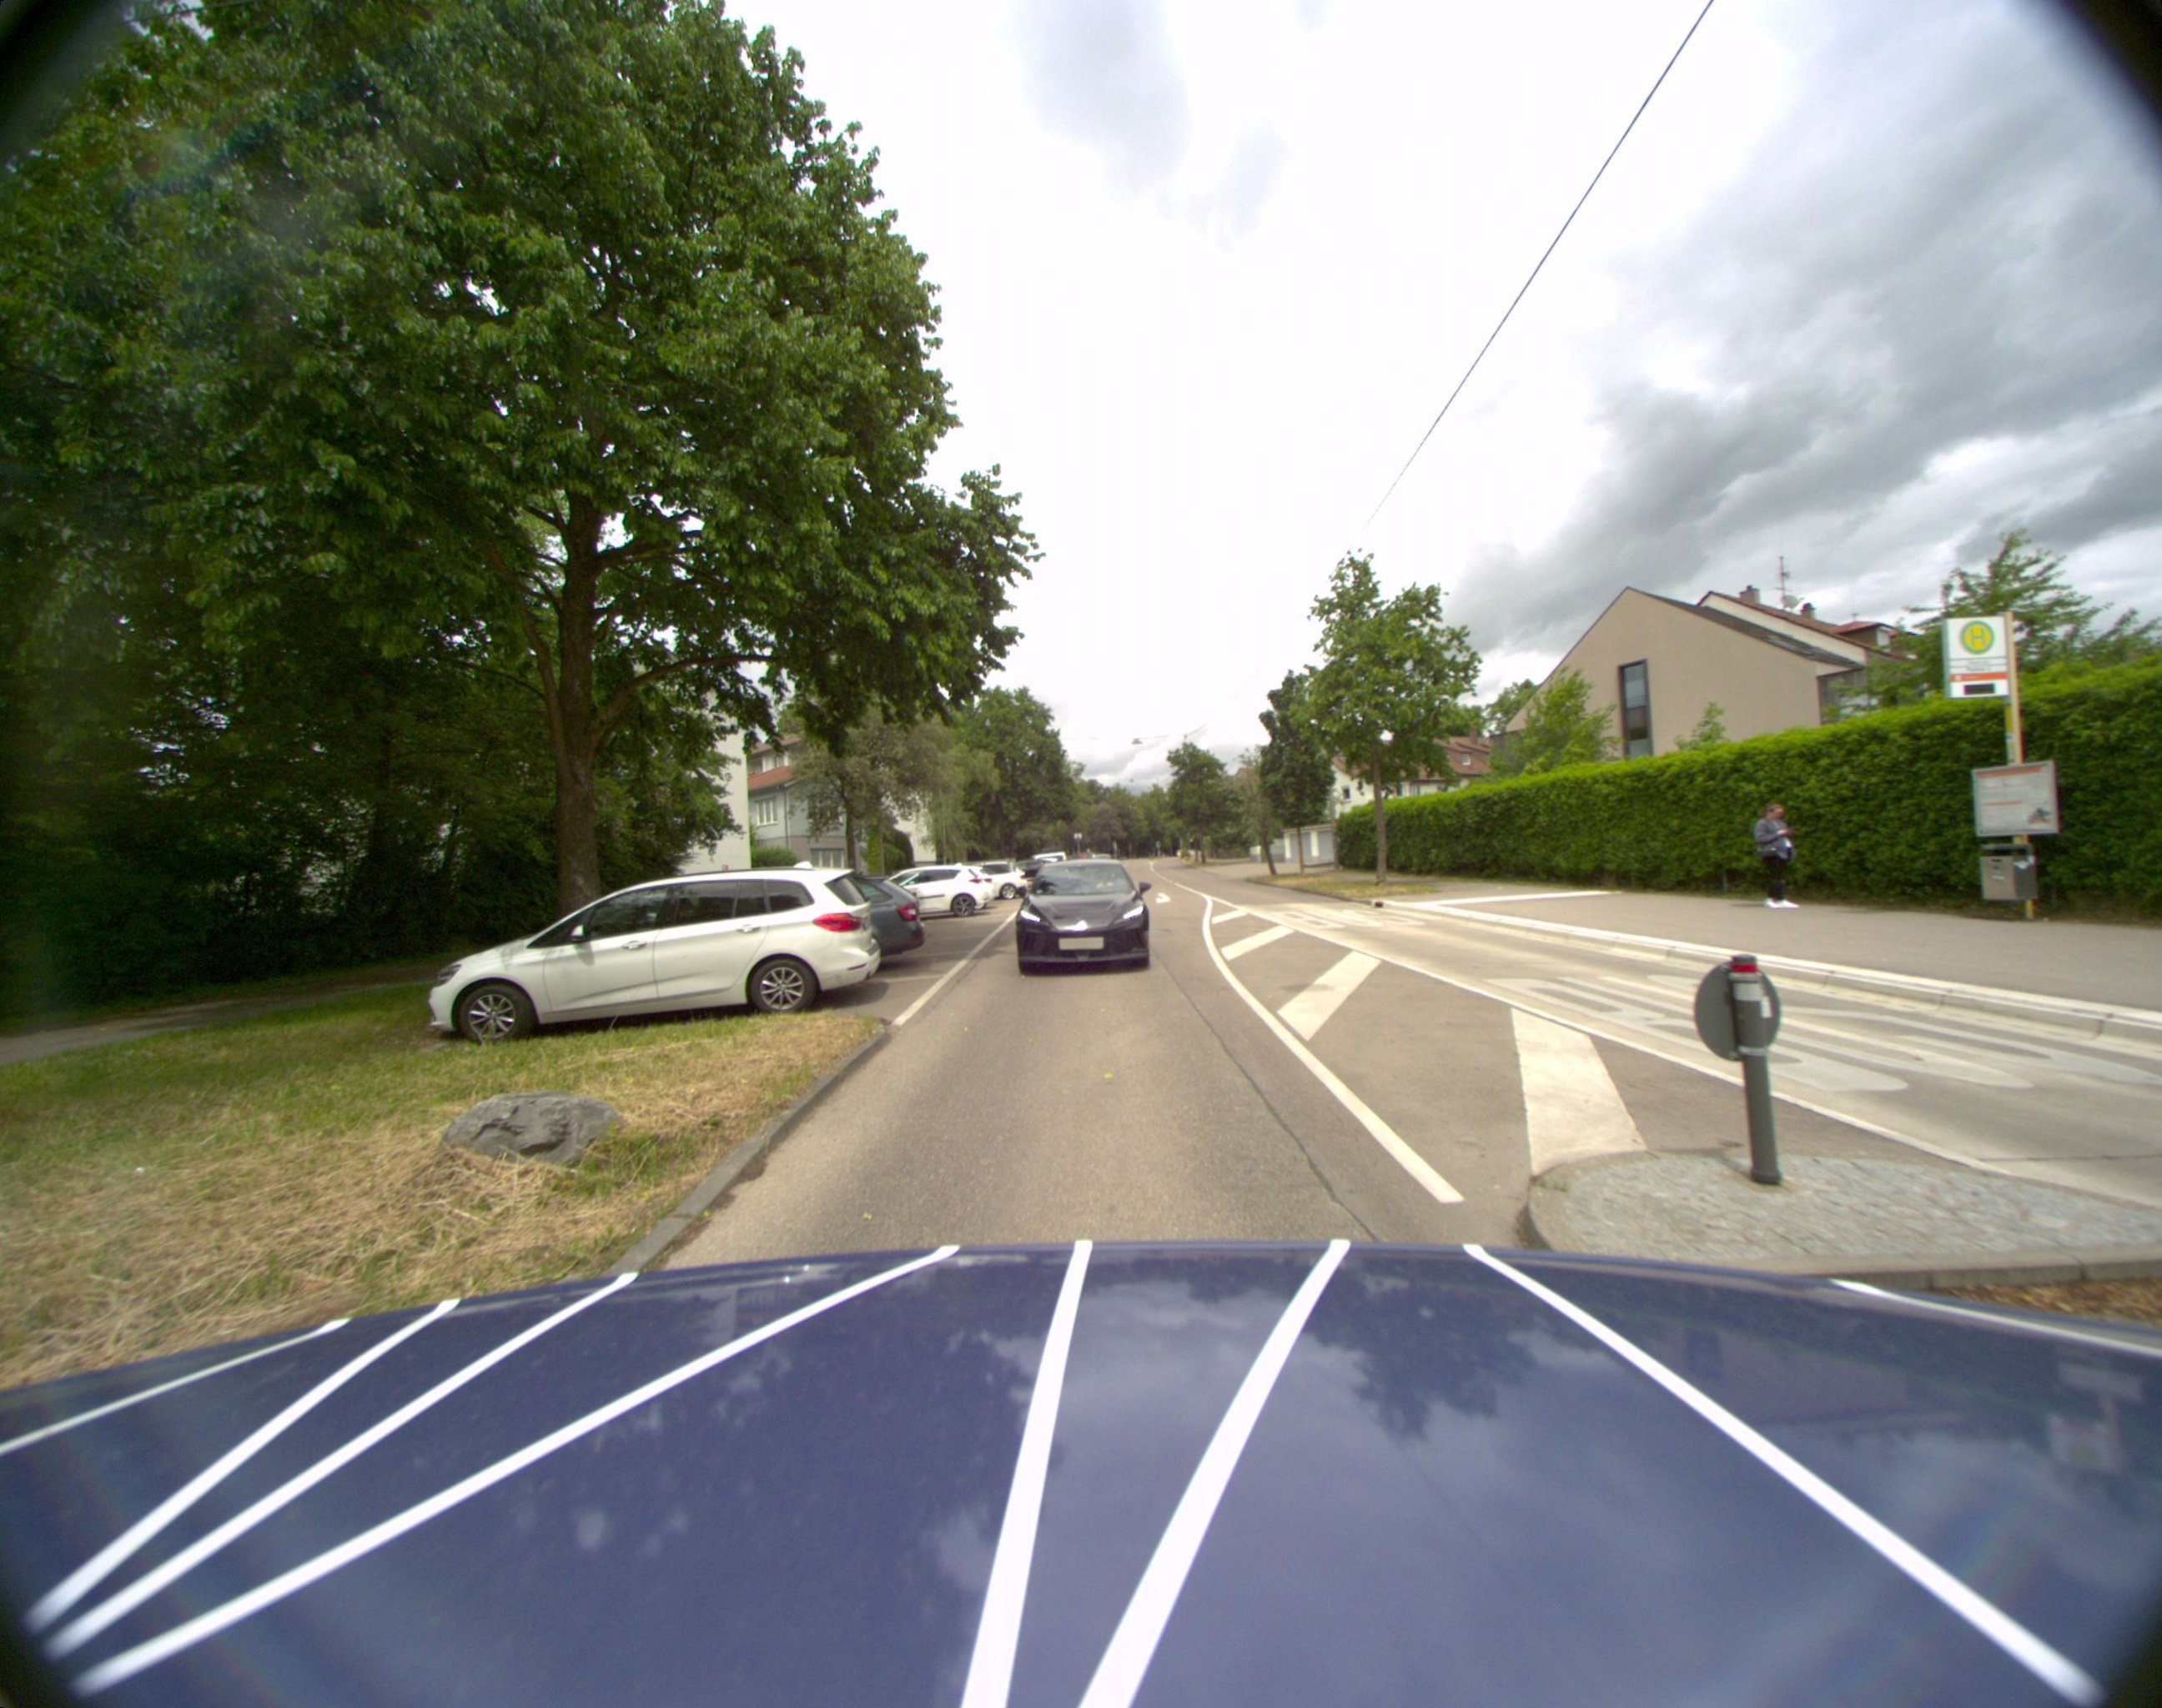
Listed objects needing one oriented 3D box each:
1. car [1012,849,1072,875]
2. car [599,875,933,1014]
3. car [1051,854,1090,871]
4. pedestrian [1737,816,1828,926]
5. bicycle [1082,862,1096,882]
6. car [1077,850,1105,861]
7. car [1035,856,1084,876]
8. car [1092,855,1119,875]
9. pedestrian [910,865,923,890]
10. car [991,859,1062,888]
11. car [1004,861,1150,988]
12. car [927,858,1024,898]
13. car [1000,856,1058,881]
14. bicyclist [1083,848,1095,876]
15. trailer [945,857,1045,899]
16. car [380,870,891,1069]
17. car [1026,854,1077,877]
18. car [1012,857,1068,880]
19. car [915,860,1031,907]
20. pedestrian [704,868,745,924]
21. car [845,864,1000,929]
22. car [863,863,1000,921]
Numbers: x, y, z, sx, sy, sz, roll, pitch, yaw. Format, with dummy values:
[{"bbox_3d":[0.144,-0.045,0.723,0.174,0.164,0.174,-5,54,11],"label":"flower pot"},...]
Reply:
[{"bbox_3d":[-3.026,0.623,59.256,4.225,1.748,1.856,-4,1,-20],"label":"car"},{"bbox_3d":[-4.387,1.208,11.201,4.148,1.455,1.796,-4,1,-15],"label":"car"},{"bbox_3d":[-1.111,0.885,82.555,3.859,1.603,1.653,-4,1,-16],"label":"car"},{"bbox_3d":[11.334,0.264,12.301,0.693,1.701,0.778,-3,1,-5],"label":"pedestrian"},{"bbox_3d":[0.520,1.152,49.275,0.648,1.230,1.876,-3,0,-7],"label":"bicycle"},{"bbox_3d":[1.380,0.223,107.845,3.856,1.378,1.654,-4,1,-4],"label":"car"},{"bbox_3d":[-1.865,1.011,65.047,3.858,1.426,1.653,-4,1,-10],"label":"car"},{"bbox_3d":[1.972,0.862,60.882,1.860,1.366,4.077,-3,0,5],"label":"car"},{"bbox_3d":[-10.490,1.487,48.419,0.694,1.495,0.777,-3,1,-16],"label":"pedestrian"},{"bbox_3d":[-3.280,1.155,45.727,3.859,1.426,1.713,-4,1,-21],"label":"car"},{"bbox_3d":[0.062,0.919,11.596,1.812,1.484,3.794,-2,1,3],"label":"car"},{"bbox_3d":[-4.803,1.063,34.561,4.003,1.455,1.788,-4,1,-21],"label":"car"},{"bbox_3d":[-3.501,0.961,50.933,3.516,1.455,1.713,-4,1,-16],"label":"car"},{"bbox_3d":[0.495,0.508,49.275,0.647,1.769,0.627,-2,1,-7],"label":"bicyclist"},{"bbox_3d":[-3.682,0.999,32.472,4.001,1.543,1.657,-3,0,-14],"label":"trailer"},{"bbox_3d":[-4.597,1.141,8.577,4.482,1.576,1.905,-4,1,-8],"label":"car"},{"bbox_3d":[-2.448,0.928,62.390,3.858,1.634,1.851,-4,1,-10],"label":"car"},{"bbox_3d":[-3.023,1.030,56.191,3.858,1.430,1.714,-4,1,-10],"label":"car"},{"bbox_3d":[-4.200,1.099,29.526,4.004,1.455,1.847,-4,1,-24],"label":"car"},{"bbox_3d":[-10.810,1.273,23.031,0.692,1.634,0.779,-2,1,23],"label":"pedestrian"},{"bbox_3d":[-4.478,1.140,21.450,4.002,1.455,1.863,-4,1,-16],"label":"car"},{"bbox_3d":[-4.736,1.150,23.984,4.002,1.455,1.794,-4,1,-15],"label":"car"}]
